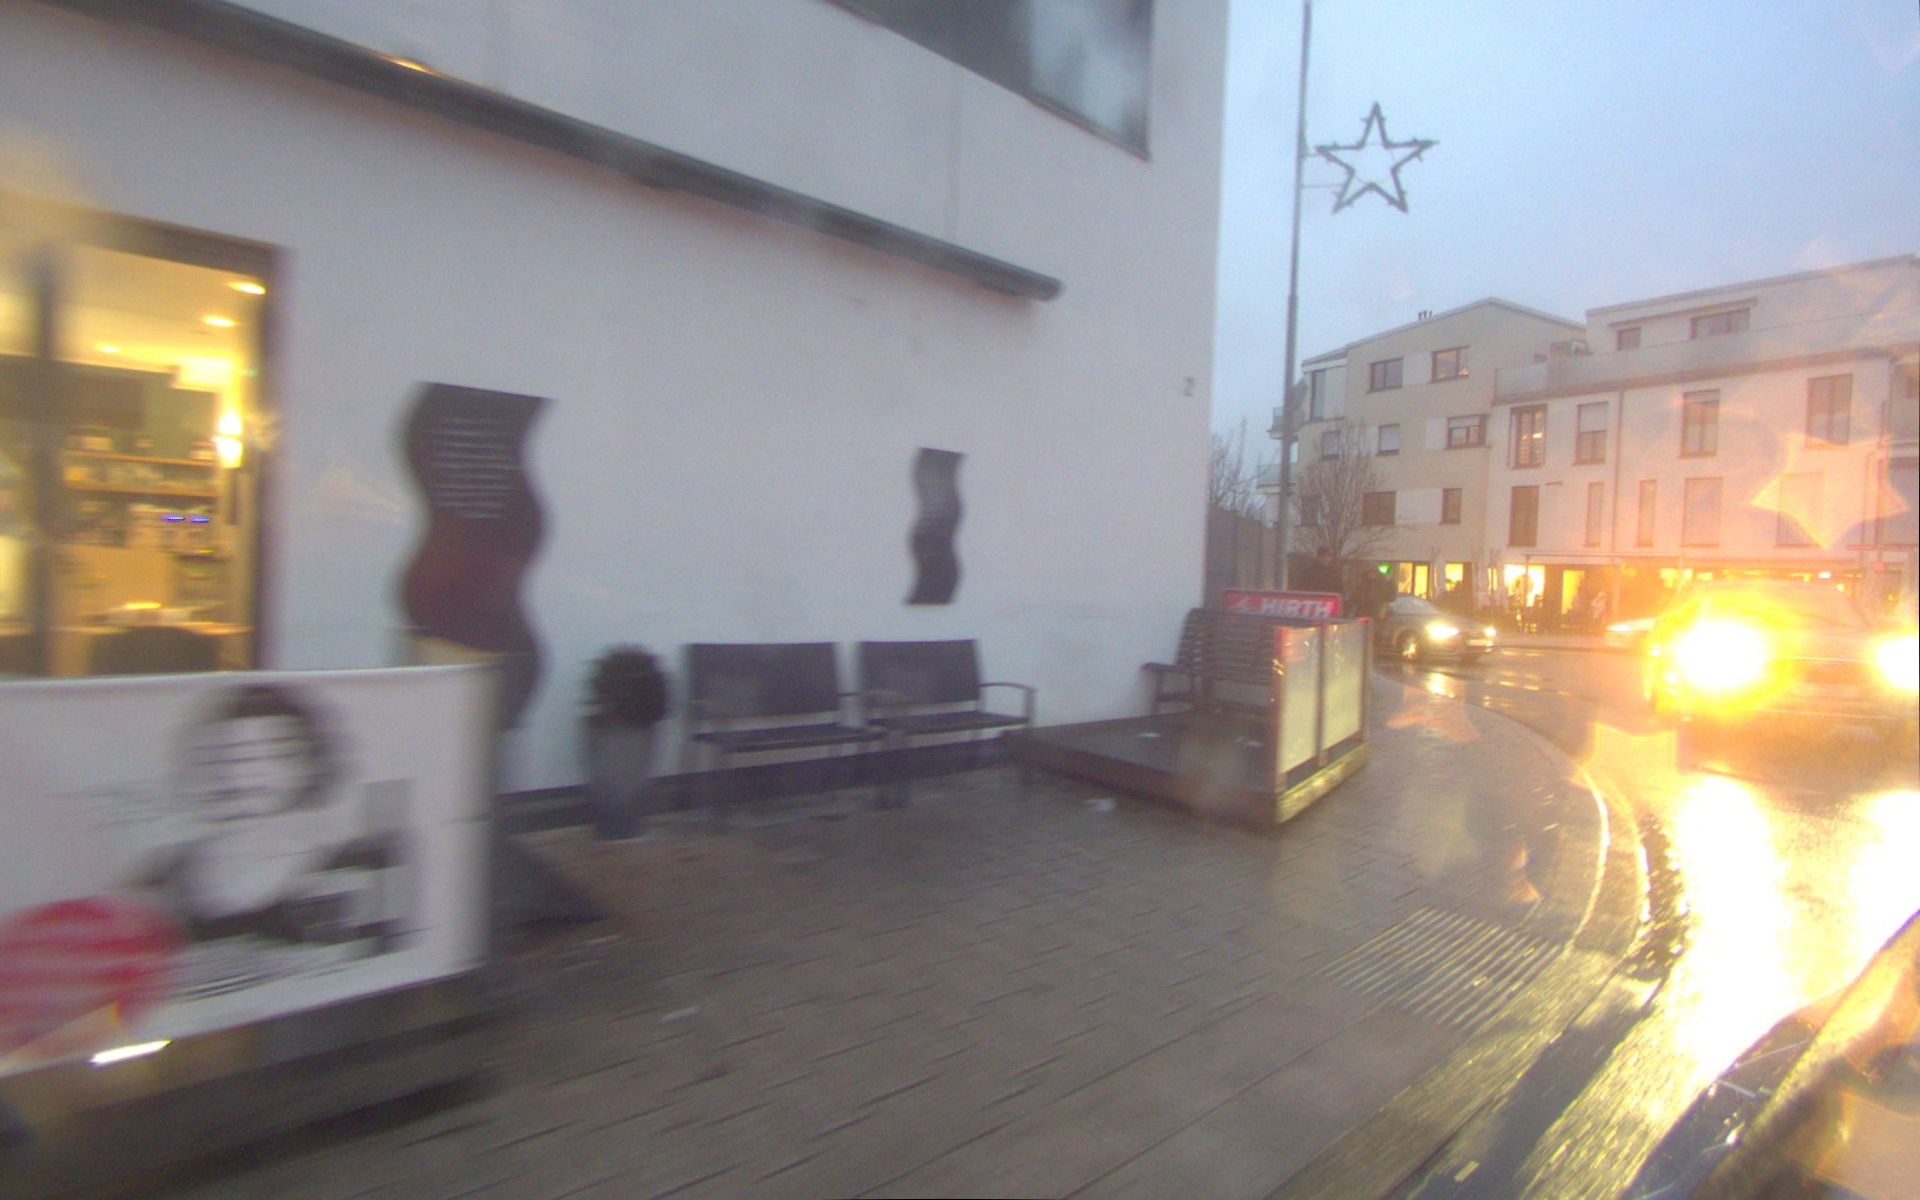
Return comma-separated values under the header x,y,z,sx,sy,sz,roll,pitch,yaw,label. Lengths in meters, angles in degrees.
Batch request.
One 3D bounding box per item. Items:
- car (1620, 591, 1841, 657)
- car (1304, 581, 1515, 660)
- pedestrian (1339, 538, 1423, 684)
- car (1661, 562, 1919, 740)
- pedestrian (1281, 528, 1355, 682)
x,y,z,sx,sy,sz,roll,pitch,yaw,label
18.970,0.545,25.169,4.248,1.462,1.542,1,2,35,car
9.471,0.353,21.667,1.727,1.498,4.028,0,1,-23,car
5.297,0.122,12.770,0.754,1.783,0.791,0,1,4,pedestrian
9.211,0.444,11.317,1.944,1.605,4.064,2,1,31,car
4.543,0.055,12.877,0.697,1.889,0.791,0,1,4,pedestrian
